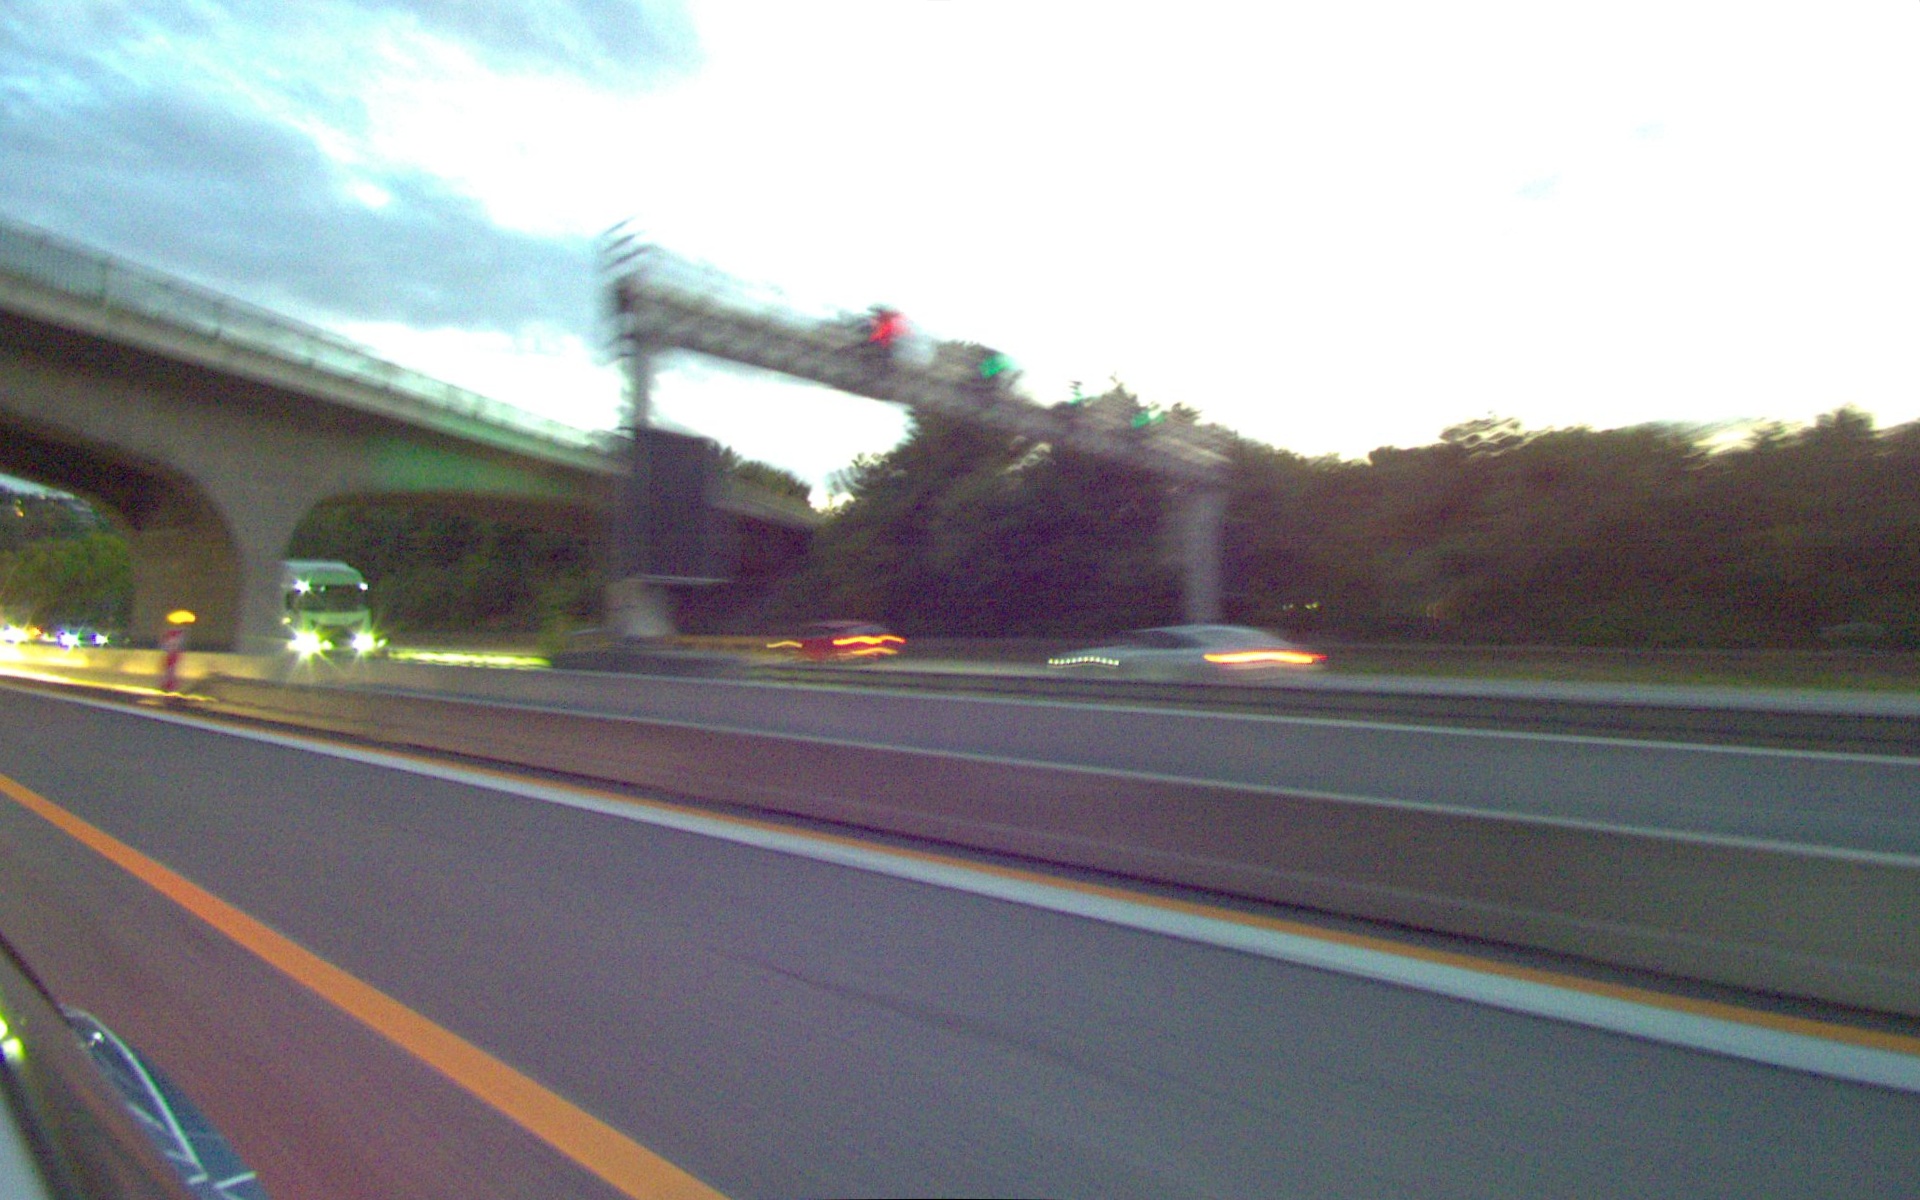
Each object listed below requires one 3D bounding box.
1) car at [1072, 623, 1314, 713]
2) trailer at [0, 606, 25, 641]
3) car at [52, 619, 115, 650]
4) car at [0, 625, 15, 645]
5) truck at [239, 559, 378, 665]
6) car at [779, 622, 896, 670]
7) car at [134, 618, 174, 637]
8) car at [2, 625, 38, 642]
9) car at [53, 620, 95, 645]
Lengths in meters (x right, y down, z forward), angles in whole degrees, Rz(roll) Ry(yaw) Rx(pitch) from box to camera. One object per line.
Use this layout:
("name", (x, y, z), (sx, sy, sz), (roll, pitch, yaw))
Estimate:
("car", (4.954, 1.386, 22.011), (4.838, 1.673, 1.812), (-1, 0, 41))
("trailer", (-120.402, 2.922, 127.013), (12.388, 4.237, 2.752), (-1, 0, 39))
("car", (-56.820, 2.205, 65.600), (4.692, 1.898, 2.072), (-1, 0, 36))
("car", (-77.710, 2.820, 81.380), (3.993, 1.492, 1.771), (-1, 0, 37))
("truck", (-25.579, 0.442, 39.630), (6.297, 3.803, 2.775), (-1, 0, 40))
("car", (-4.165, 1.502, 34.135), (3.926, 1.466, 1.686), (-1, 0, 39))
("car", (-61.600, 2.096, 77.365), (3.515, 1.417, 1.611), (-1, 0, 38))
("car", (-98.929, 3.520, 106.528), (4.574, 1.686, 1.975), (-1, 0, 37))
("car", (-81.857, 2.989, 93.457), (4.794, 2.206, 1.975), (-1, 0, 37))
